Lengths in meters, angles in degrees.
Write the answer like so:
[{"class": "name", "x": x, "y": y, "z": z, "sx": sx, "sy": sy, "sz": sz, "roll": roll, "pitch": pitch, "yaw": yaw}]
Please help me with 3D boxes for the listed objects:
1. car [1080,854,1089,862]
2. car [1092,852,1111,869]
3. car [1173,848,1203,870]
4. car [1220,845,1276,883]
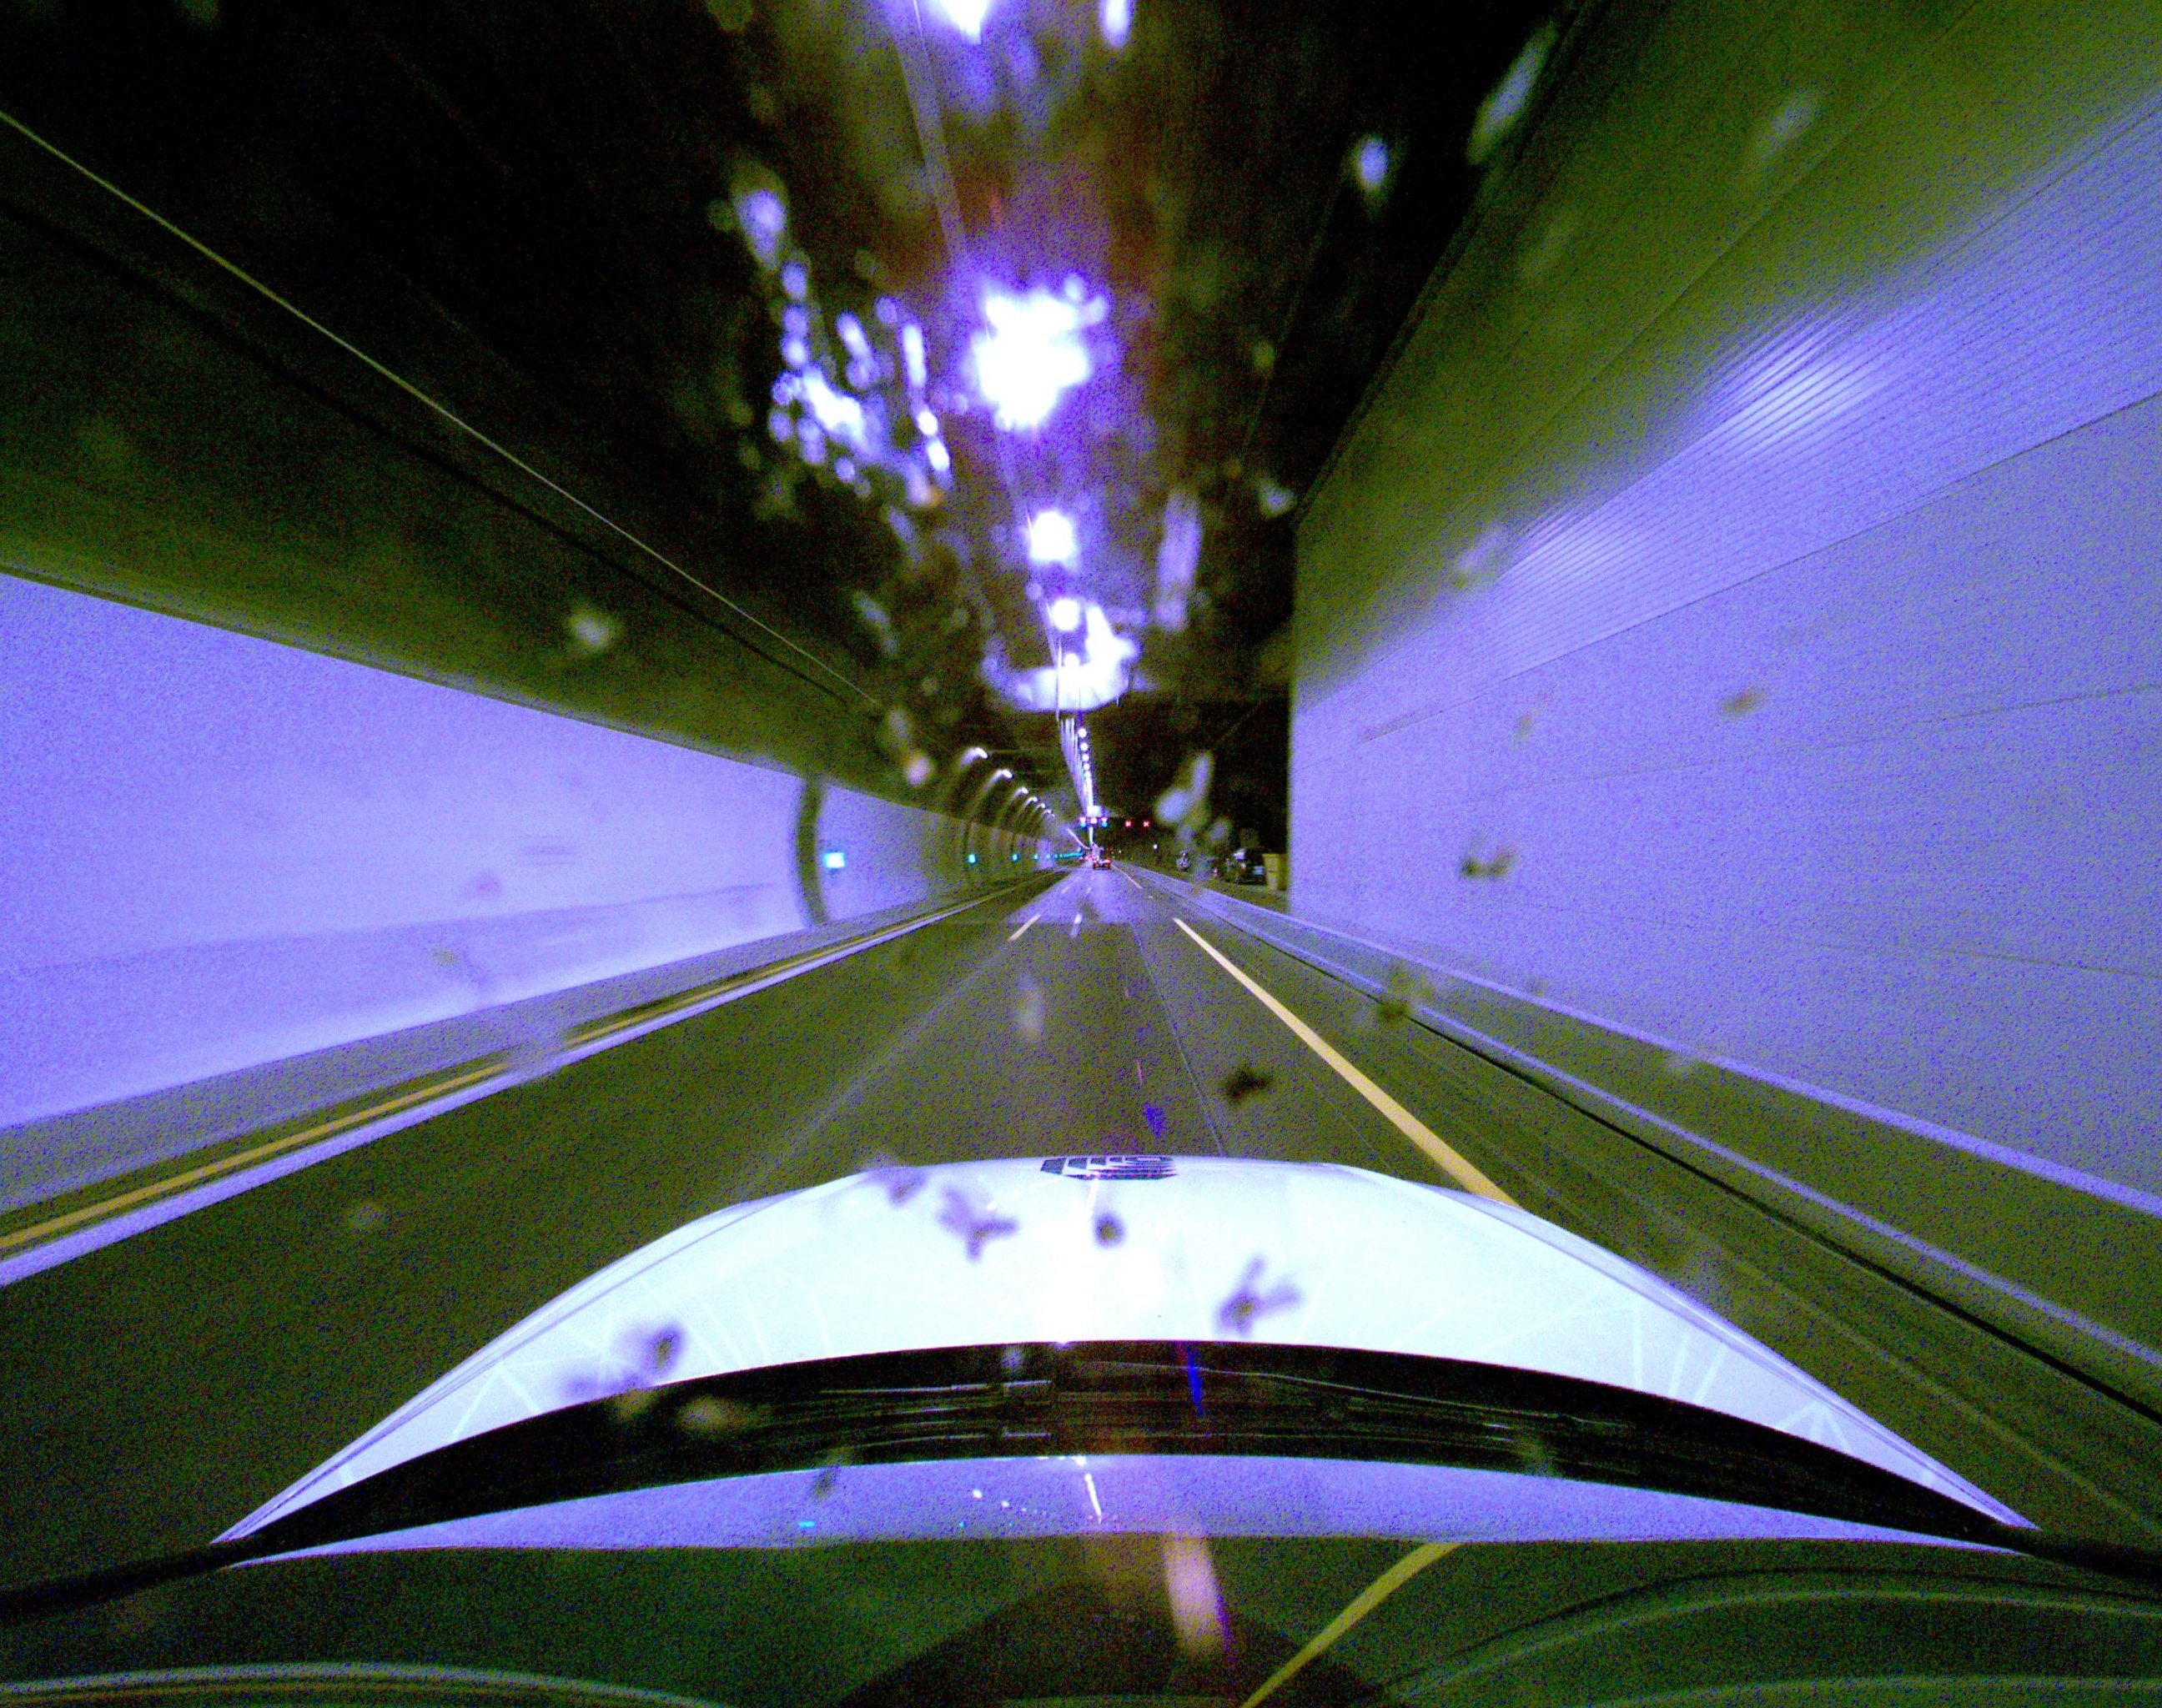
[{"class": "car", "x": 0.874, "y": 0.934, "z": 184.164, "sx": 1.923, "sy": 1.687, "sz": 4.001, "roll": -1, "pitch": 0, "yaw": 1}, {"class": "car", "x": 2.150, "y": 0.672, "z": 85.982, "sx": 1.941, "sy": 1.794, "sz": 3.999, "roll": -1, "pitch": 0, "yaw": 0}, {"class": "car", "x": 9.423, "y": 0.456, "z": 71.924, "sx": 1.747, "sy": 1.845, "sz": 4.640, "roll": -1, "pitch": 0, "yaw": -3}, {"class": "car", "x": 8.501, "y": 0.483, "z": 41.913, "sx": 1.822, "sy": 1.858, "sz": 5.441, "roll": 0, "pitch": 0, "yaw": 0}]
